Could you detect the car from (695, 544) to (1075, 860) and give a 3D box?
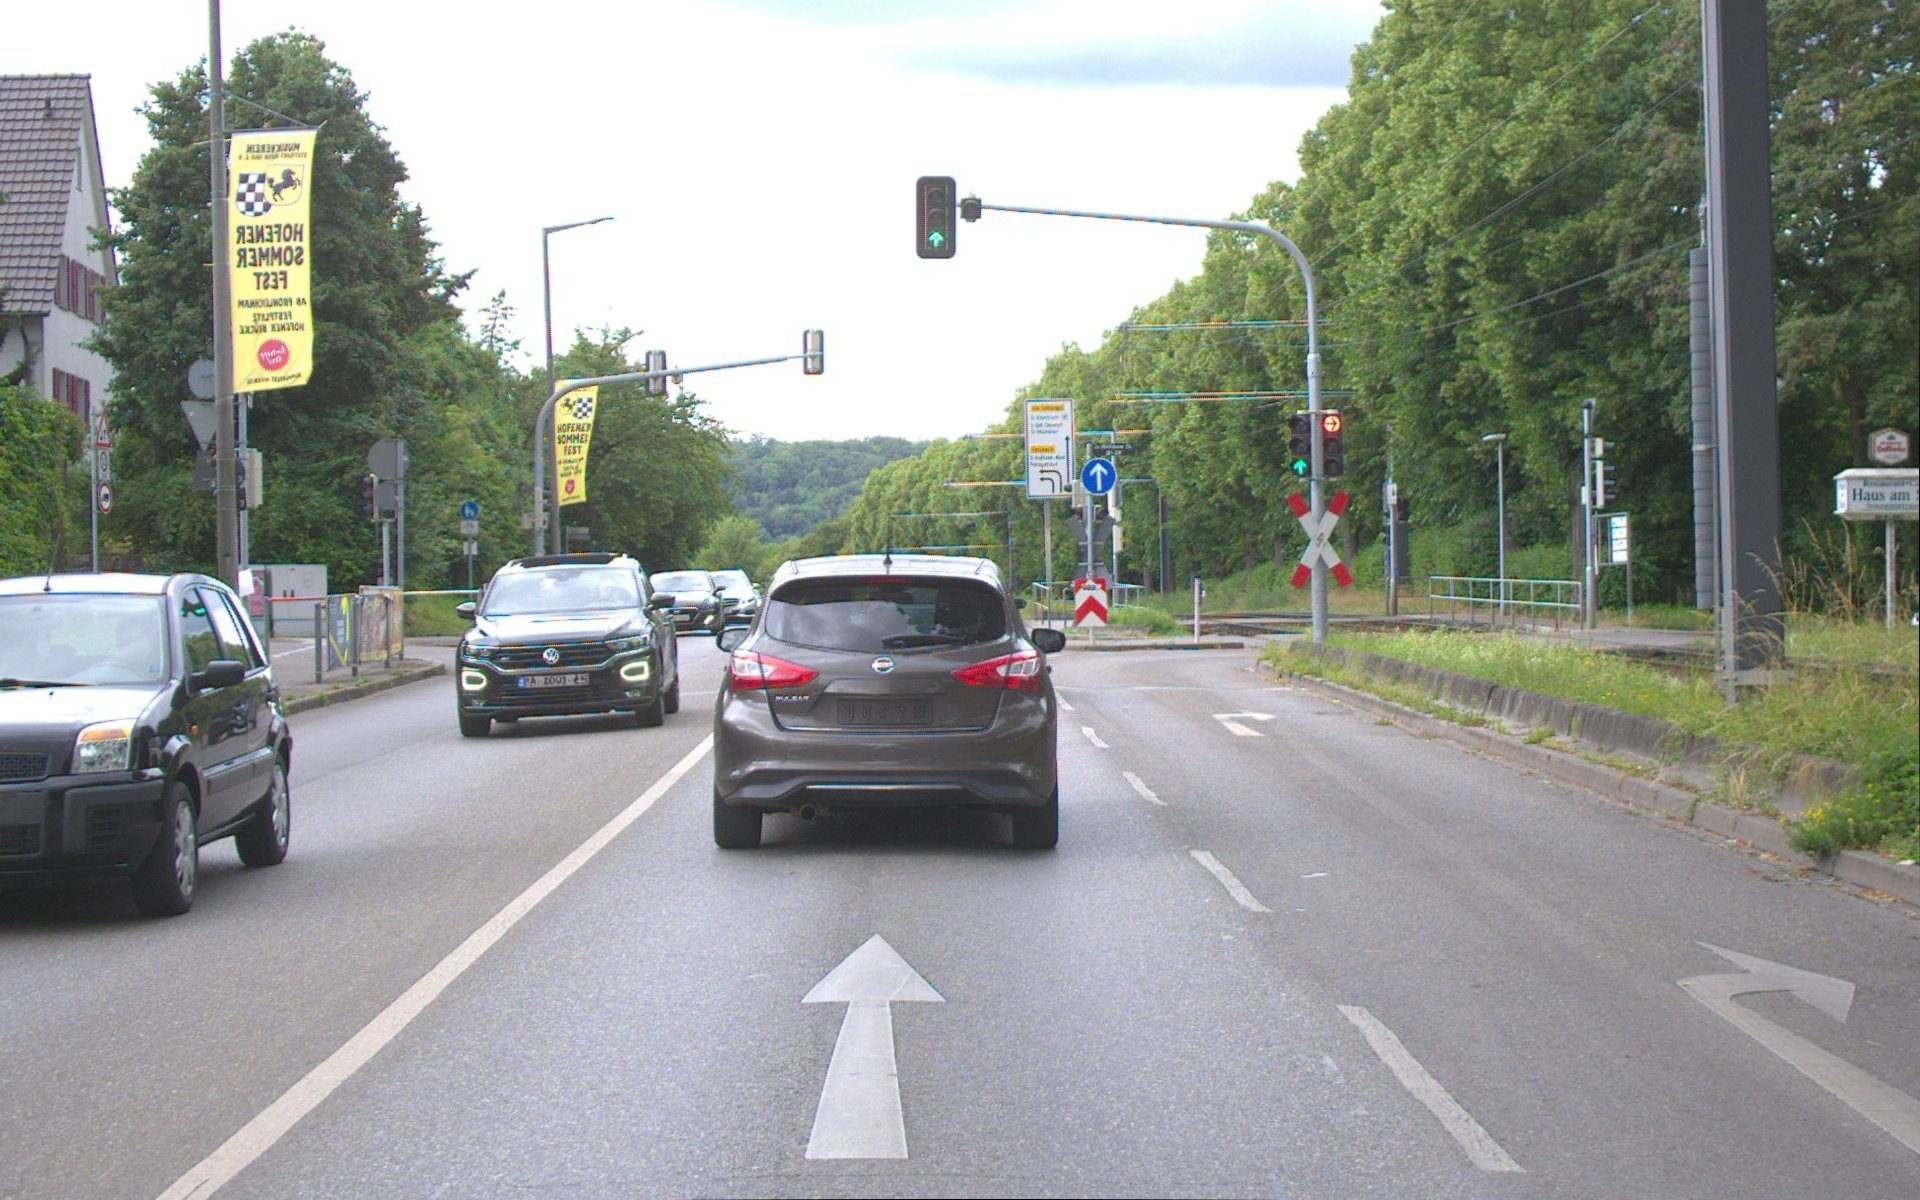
[{"bbox_3d":[-0.376,0.464,19.061,1.835,1.514,4.483,1,1,0],"label":"car"}]

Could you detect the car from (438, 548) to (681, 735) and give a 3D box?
[{"bbox_3d":[-3.577,0.320,31.341,1.812,1.519,4.178,-2,1,-2],"label":"car"}]

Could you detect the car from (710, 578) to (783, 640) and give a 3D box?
[{"bbox_3d":[-5.654,0.222,91.642,1.818,1.561,5.206,0,1,-2],"label":"car"}]

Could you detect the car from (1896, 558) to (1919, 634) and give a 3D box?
[{"bbox_3d":[19.191,0.037,61.892,3.986,1.349,2.000,3,1,-6],"label":"car"}]

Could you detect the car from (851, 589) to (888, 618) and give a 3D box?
[{"bbox_3d":[-4.457,0.161,169.029,1.741,1.305,4.000,1,1,-2],"label":"car"}]

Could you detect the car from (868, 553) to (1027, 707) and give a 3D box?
[{"bbox_3d":[-0.127,0.268,35.777,1.538,1.473,3.764,-1,1,0],"label":"car"}]

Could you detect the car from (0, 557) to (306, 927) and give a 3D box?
[{"bbox_3d":[-4.255,0.582,16.133,1.643,1.476,4.107,-2,1,-2],"label":"car"}]

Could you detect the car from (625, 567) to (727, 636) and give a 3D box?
[{"bbox_3d":[-6.201,0.003,75.377,1.812,1.368,4.160,3,1,0],"label":"car"}]
